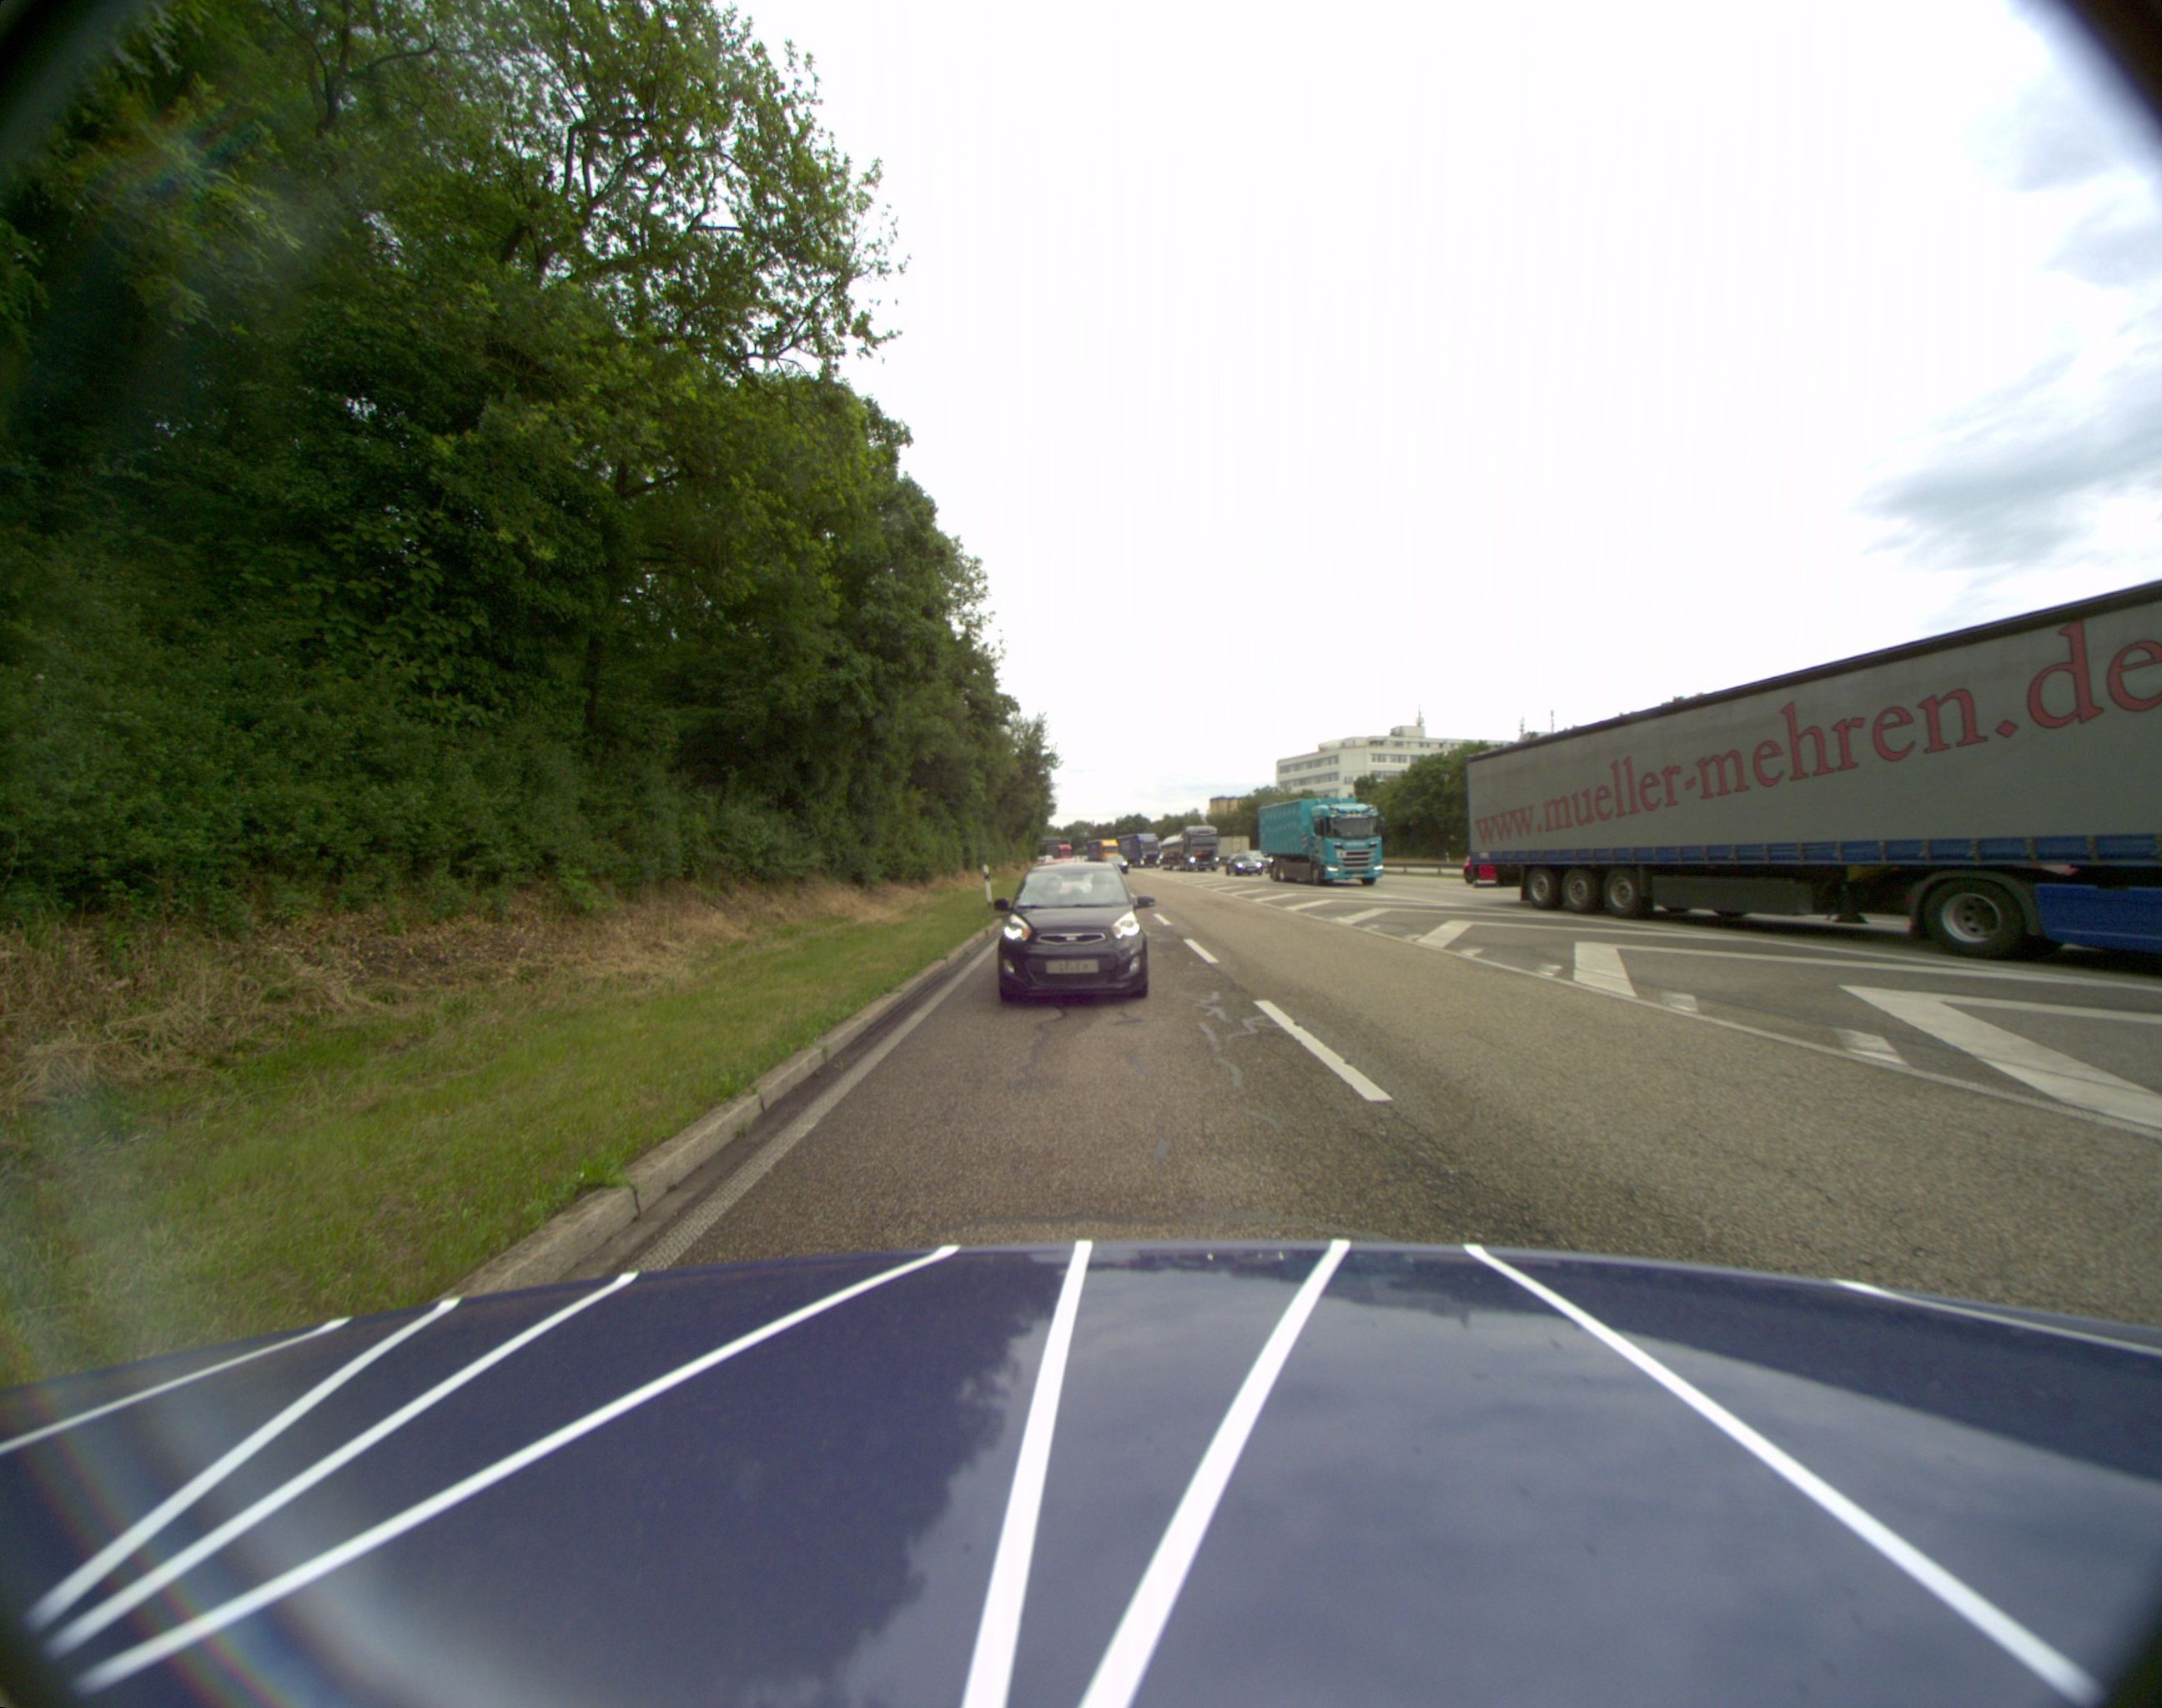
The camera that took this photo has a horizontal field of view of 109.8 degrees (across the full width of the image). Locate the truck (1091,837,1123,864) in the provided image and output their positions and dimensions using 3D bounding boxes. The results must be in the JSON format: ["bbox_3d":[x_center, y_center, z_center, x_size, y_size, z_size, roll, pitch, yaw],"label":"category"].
[{"bbox_3d":[4.137,-0.538,125.283,2.848,4.206,14.110,-1,0,-8],"label":"truck"}]

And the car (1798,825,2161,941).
[{"bbox_3d":[15.998,0.401,13.492,1.789,1.668,5.085,-1,0,1],"label":"car"}]

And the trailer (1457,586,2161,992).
[{"bbox_3d":[11.771,-0.667,13.854,2.680,3.951,13.918,-1,0,-1],"label":"trailer"}]

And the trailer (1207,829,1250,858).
[{"bbox_3d":[21.646,-1.457,112.277,2.405,4.005,13.069,-1,0,-7],"label":"trailer"}]

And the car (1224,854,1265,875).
[{"bbox_3d":[10.806,0.667,50.395,1.757,1.314,3.999,-1,0,-1],"label":"car"}]

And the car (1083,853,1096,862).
[{"bbox_3d":[1.600,0.647,145.849,1.700,1.704,3.864,-1,0,-9],"label":"car"}]

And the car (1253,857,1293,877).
[{"bbox_3d":[14.948,1.004,59.446,1.898,1.425,4.054,-1,0,-3],"label":"car"}]

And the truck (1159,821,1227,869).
[{"bbox_3d":[9.989,-0.734,69.667,3.329,3.902,13.140,-1,0,-4],"label":"truck"}]

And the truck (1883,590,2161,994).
[{"bbox_3d":[11.882,-0.624,6.988,2.675,3.938,5.926,-1,0,-1],"label":"truck"}]

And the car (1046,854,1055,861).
[{"bbox_3d":[-6.418,0.648,160.876,1.583,1.442,3.387,-1,0,-8],"label":"car"}]

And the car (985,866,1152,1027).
[{"bbox_3d":[-0.097,0.936,9.406,1.584,1.485,4.000,-2,0,1],"label":"car"}]

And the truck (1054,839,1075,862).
[{"bbox_3d":[-3.780,-0.724,171.418,2.848,5.070,14.110,-1,0,-8],"label":"truck"}]

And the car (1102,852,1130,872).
[{"bbox_3d":[3.009,0.653,65.872,1.906,1.653,4.750,-1,0,-3],"label":"car"}]

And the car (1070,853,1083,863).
[{"bbox_3d":[-0.755,0.611,119.642,1.602,1.543,3.300,-1,0,-7],"label":"car"}]

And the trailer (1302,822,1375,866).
[{"bbox_3d":[25.279,-0.897,75.670,2.600,3.959,13.782,-1,0,0],"label":"trailer"}]

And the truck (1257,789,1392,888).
[{"bbox_3d":[11.091,-0.654,36.013,2.700,3.977,10.122,-1,0,-2],"label":"truck"}]

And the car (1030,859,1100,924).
[{"bbox_3d":[-0.390,0.888,19.691,1.631,1.492,3.563,-1,0,0],"label":"car"}]

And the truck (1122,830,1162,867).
[{"bbox_3d":[7.432,-0.619,94.504,2.814,4.206,14.001,-1,0,-4],"label":"truck"}]
